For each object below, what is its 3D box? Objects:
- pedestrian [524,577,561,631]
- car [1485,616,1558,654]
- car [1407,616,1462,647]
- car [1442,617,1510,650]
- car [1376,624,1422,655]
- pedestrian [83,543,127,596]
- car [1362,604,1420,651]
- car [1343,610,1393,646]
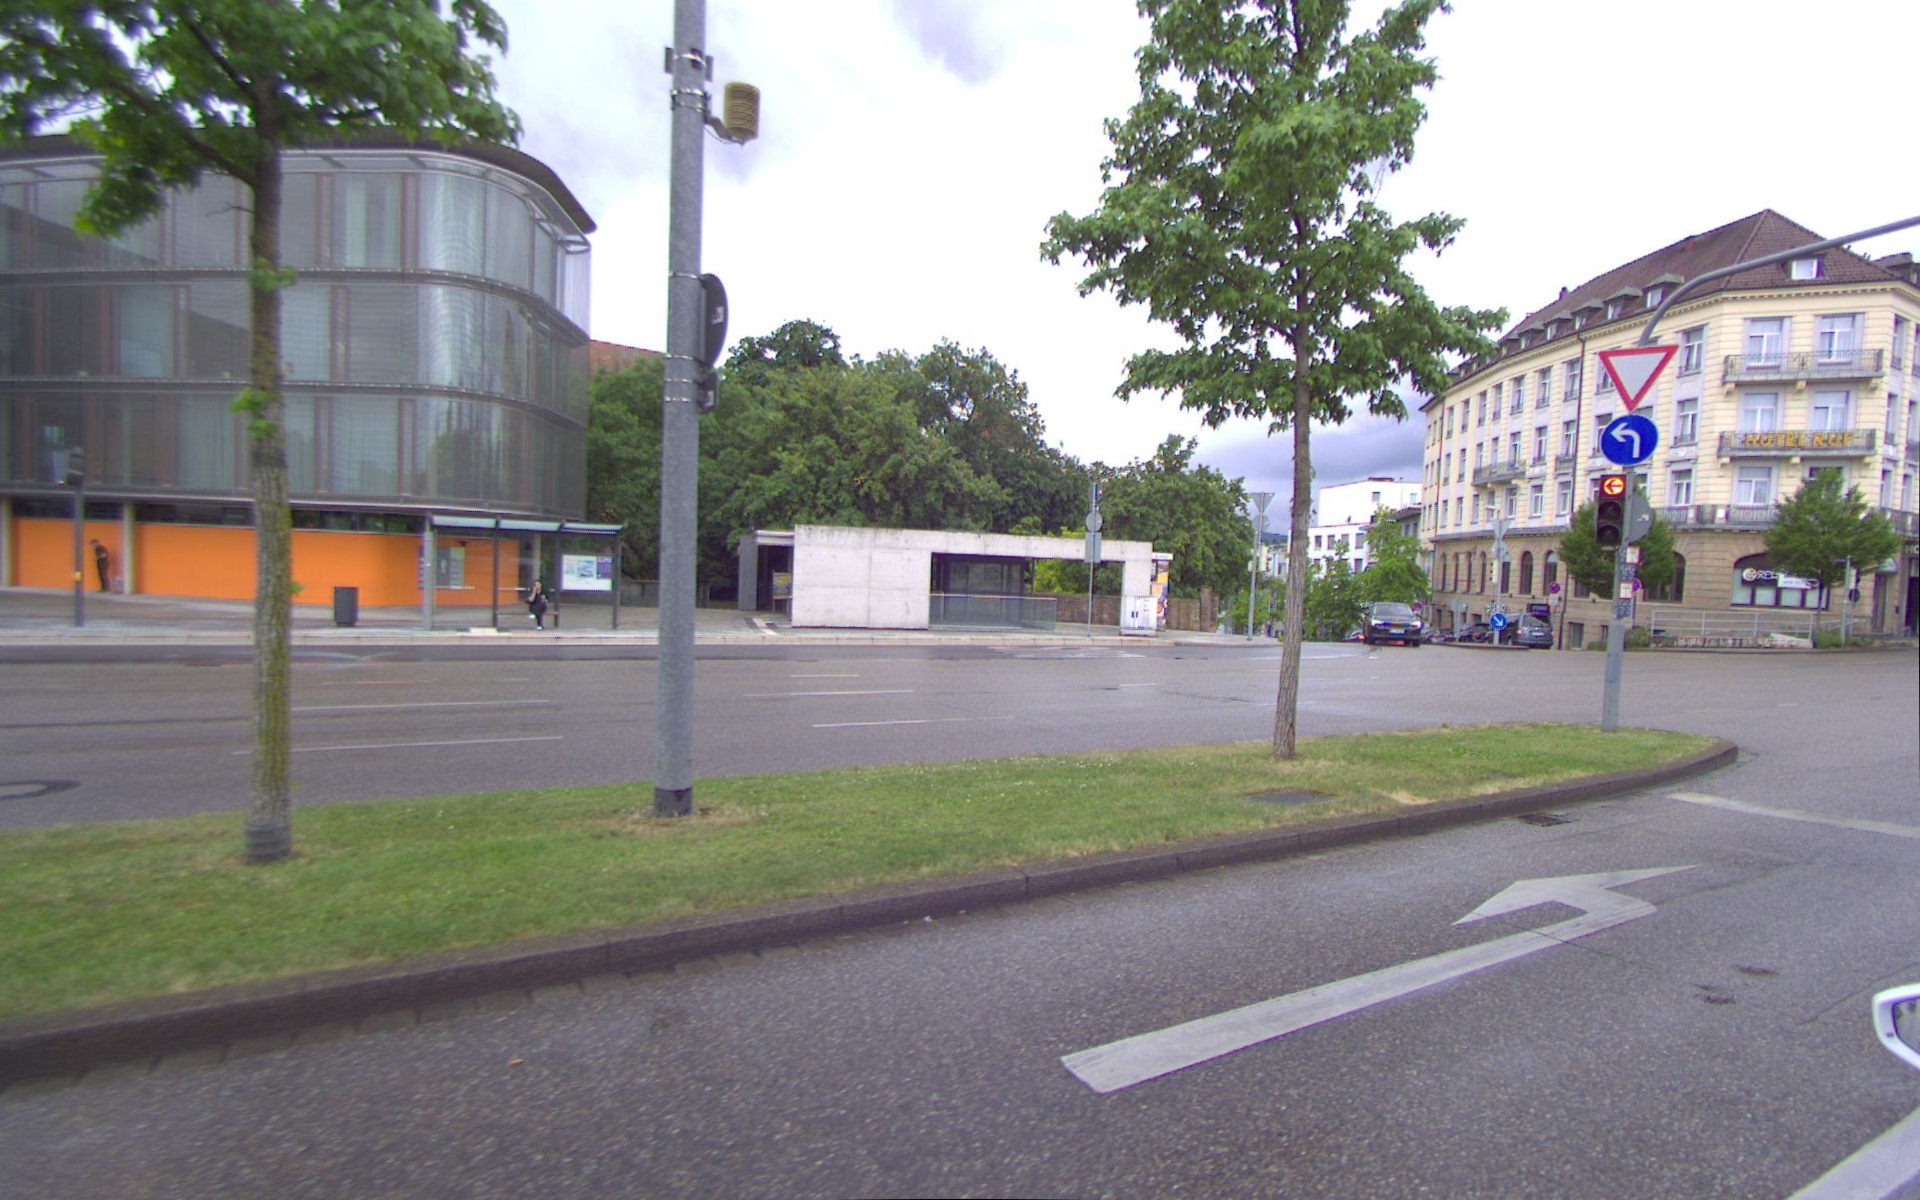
[{"bbox_3d":[-10.672,0.106,25.644,0.780,1.341,0.798,1,0,-29],"label":"pedestrian"},{"bbox_3d":[27.087,1.653,48.569,1.764,1.589,4.002,2,0,9],"label":"car"},{"bbox_3d":[28.480,1.872,60.378,1.757,1.662,3.916,2,0,6],"label":"car"},{"bbox_3d":[28.241,1.804,55.079,1.959,1.662,4.002,2,-1,6],"label":"car"},{"bbox_3d":[28.856,2.592,66.143,1.741,1.836,3.624,1,0,7],"label":"car"},{"bbox_3d":[-27.496,-0.974,32.309,0.834,1.675,0.708,1,1,13],"label":"pedestrian"},{"bbox_3d":[16.705,1.020,39.072,1.792,1.662,4.599,2,1,20],"label":"car"},{"bbox_3d":[25.767,1.739,63.583,1.959,2.040,4.002,2,1,8],"label":"car"}]
